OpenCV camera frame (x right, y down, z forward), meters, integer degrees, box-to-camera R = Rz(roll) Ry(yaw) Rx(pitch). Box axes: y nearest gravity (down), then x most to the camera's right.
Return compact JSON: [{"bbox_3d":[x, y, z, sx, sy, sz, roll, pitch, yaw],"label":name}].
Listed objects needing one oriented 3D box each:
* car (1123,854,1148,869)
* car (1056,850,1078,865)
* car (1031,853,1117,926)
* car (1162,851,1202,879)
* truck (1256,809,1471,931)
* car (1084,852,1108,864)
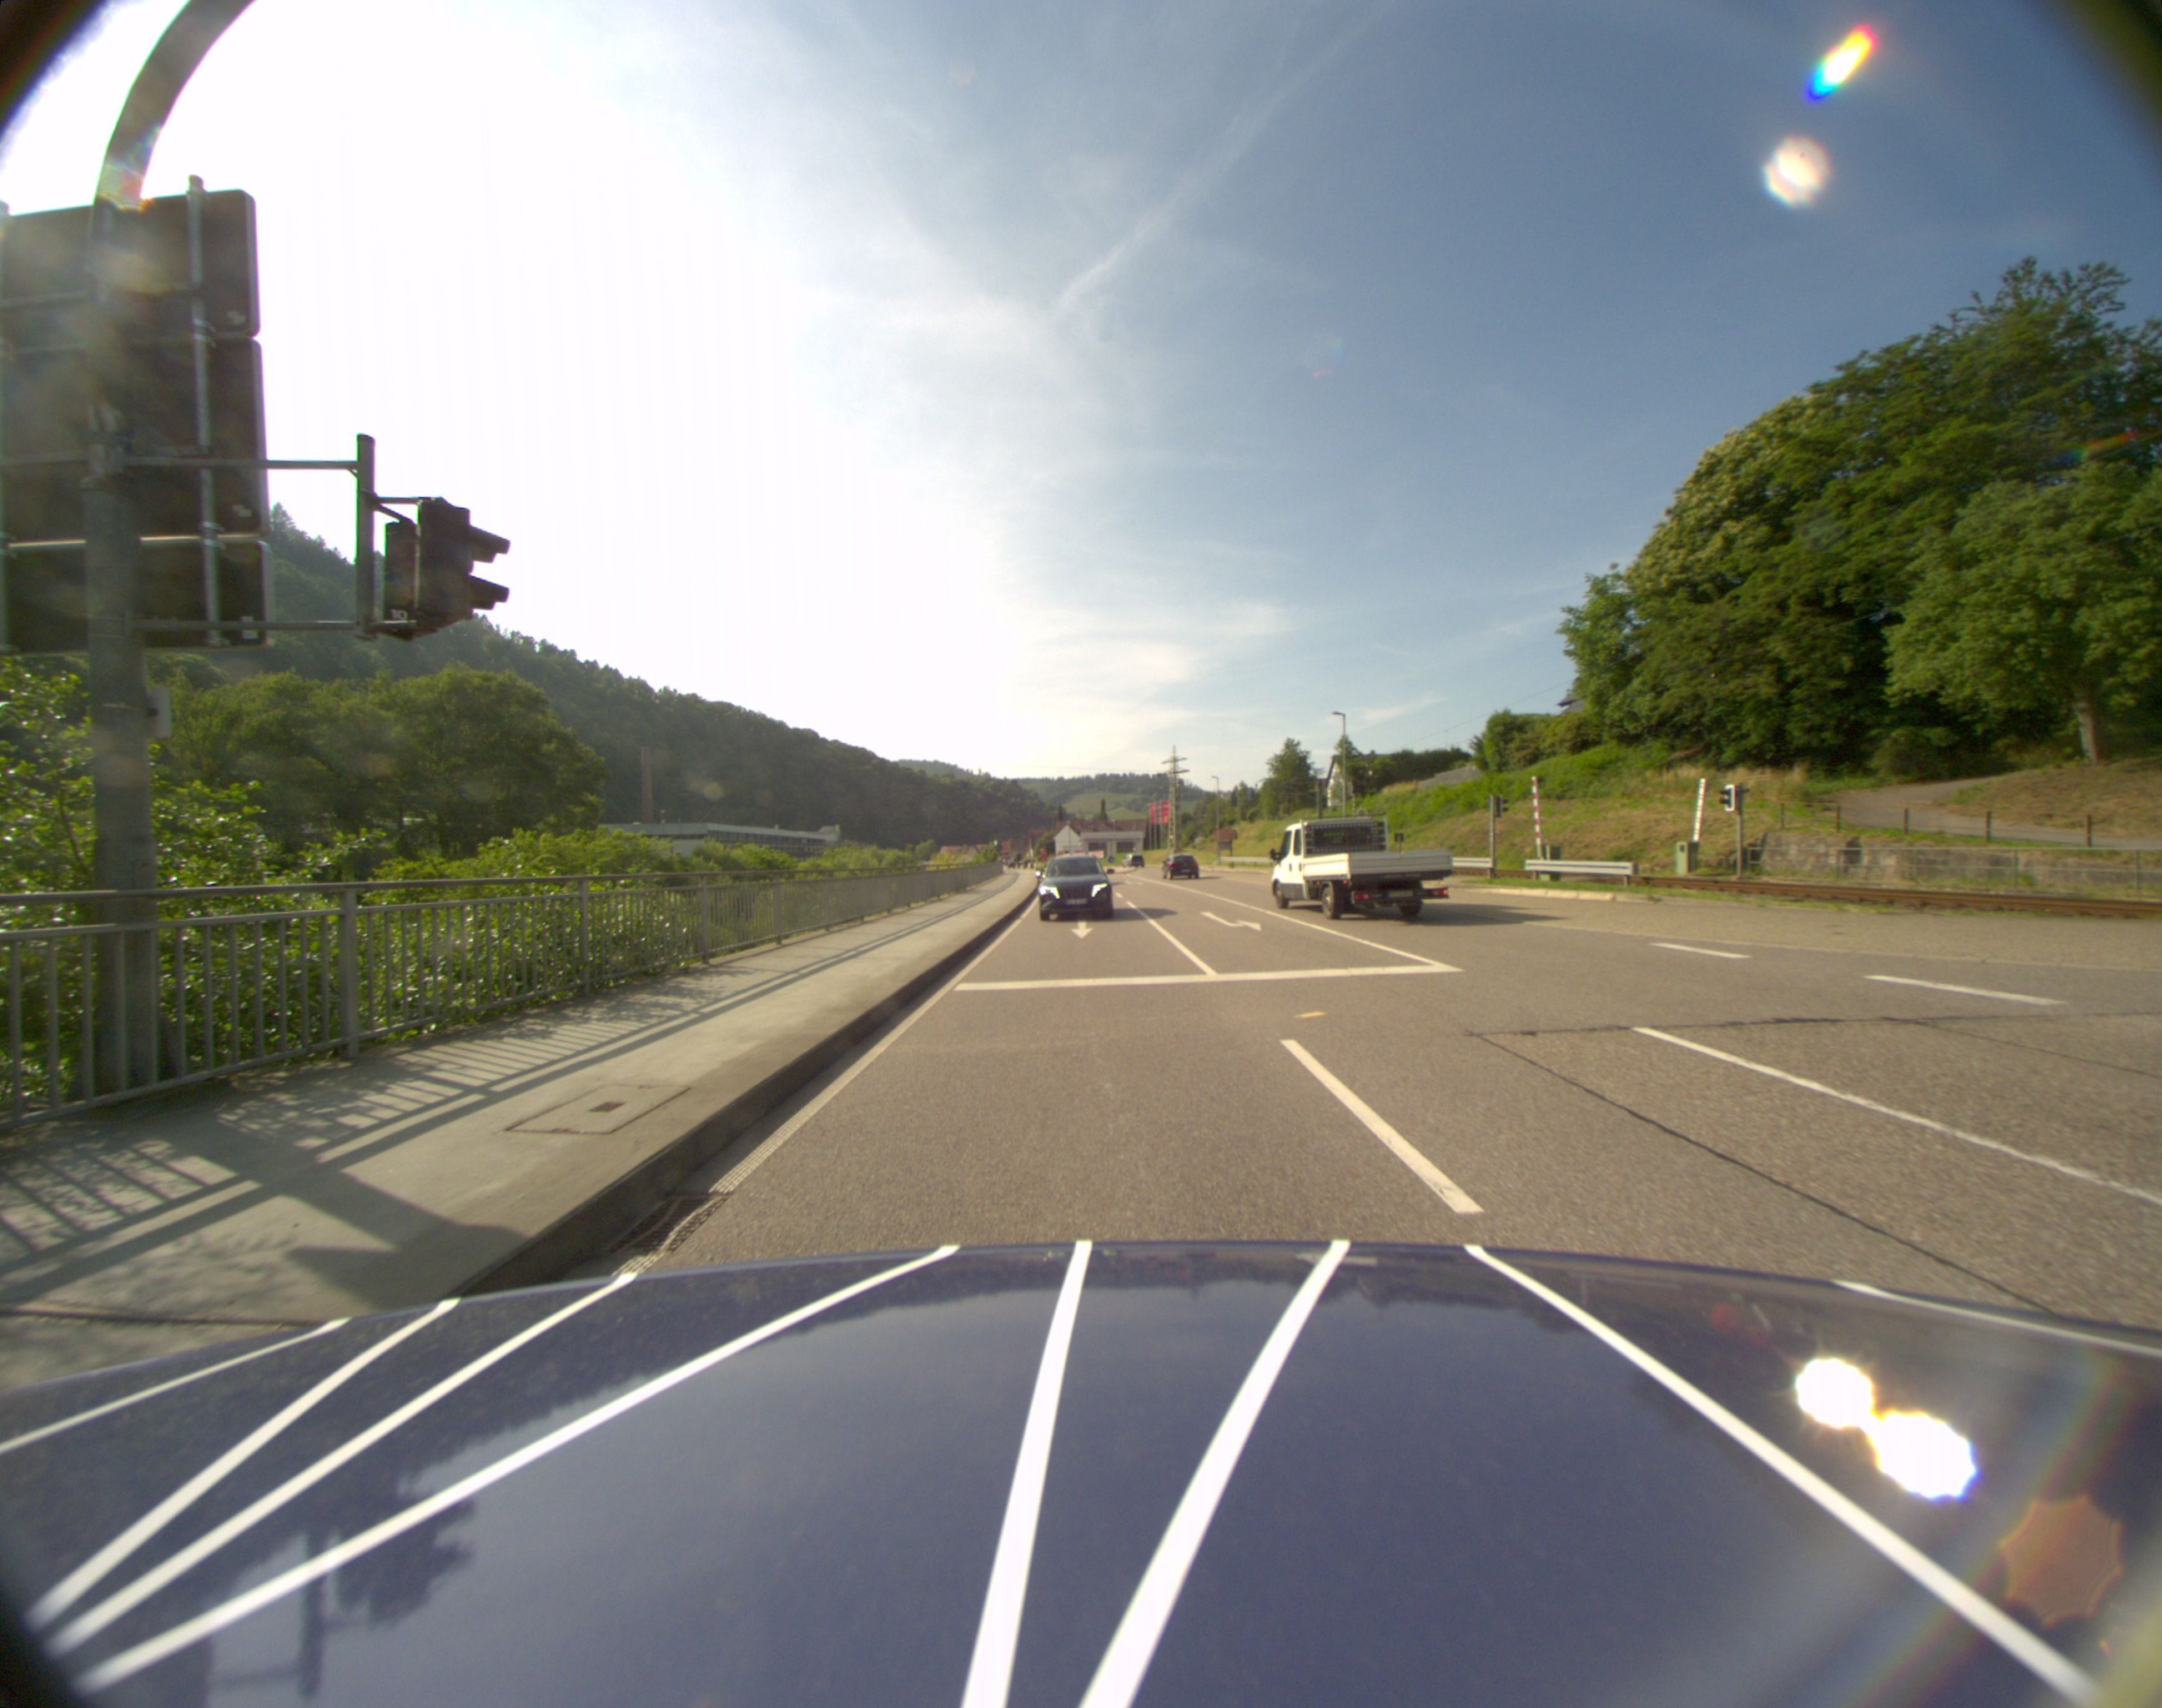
[{"bbox_3d":[6.303,0.839,87.747,2.000,1.521,3.996,-3,1,-9],"label":"car"},{"bbox_3d":[-2.125,0.534,114.408,2.002,2.002,3.993,-4,1,-22],"label":"car"},{"bbox_3d":[-0.138,0.862,21.260,1.998,1.661,5.510,-4,0,1],"label":"car"},{"bbox_3d":[5.831,0.620,44.369,1.691,1.477,3.999,-3,1,-1],"label":"car"},{"bbox_3d":[6.167,0.287,17.773,2.453,2.253,6.278,-2,1,-2],"label":"truck"},{"bbox_3d":[1.994,0.577,103.839,2.001,1.434,3.994,-4,1,-17],"label":"car"}]
